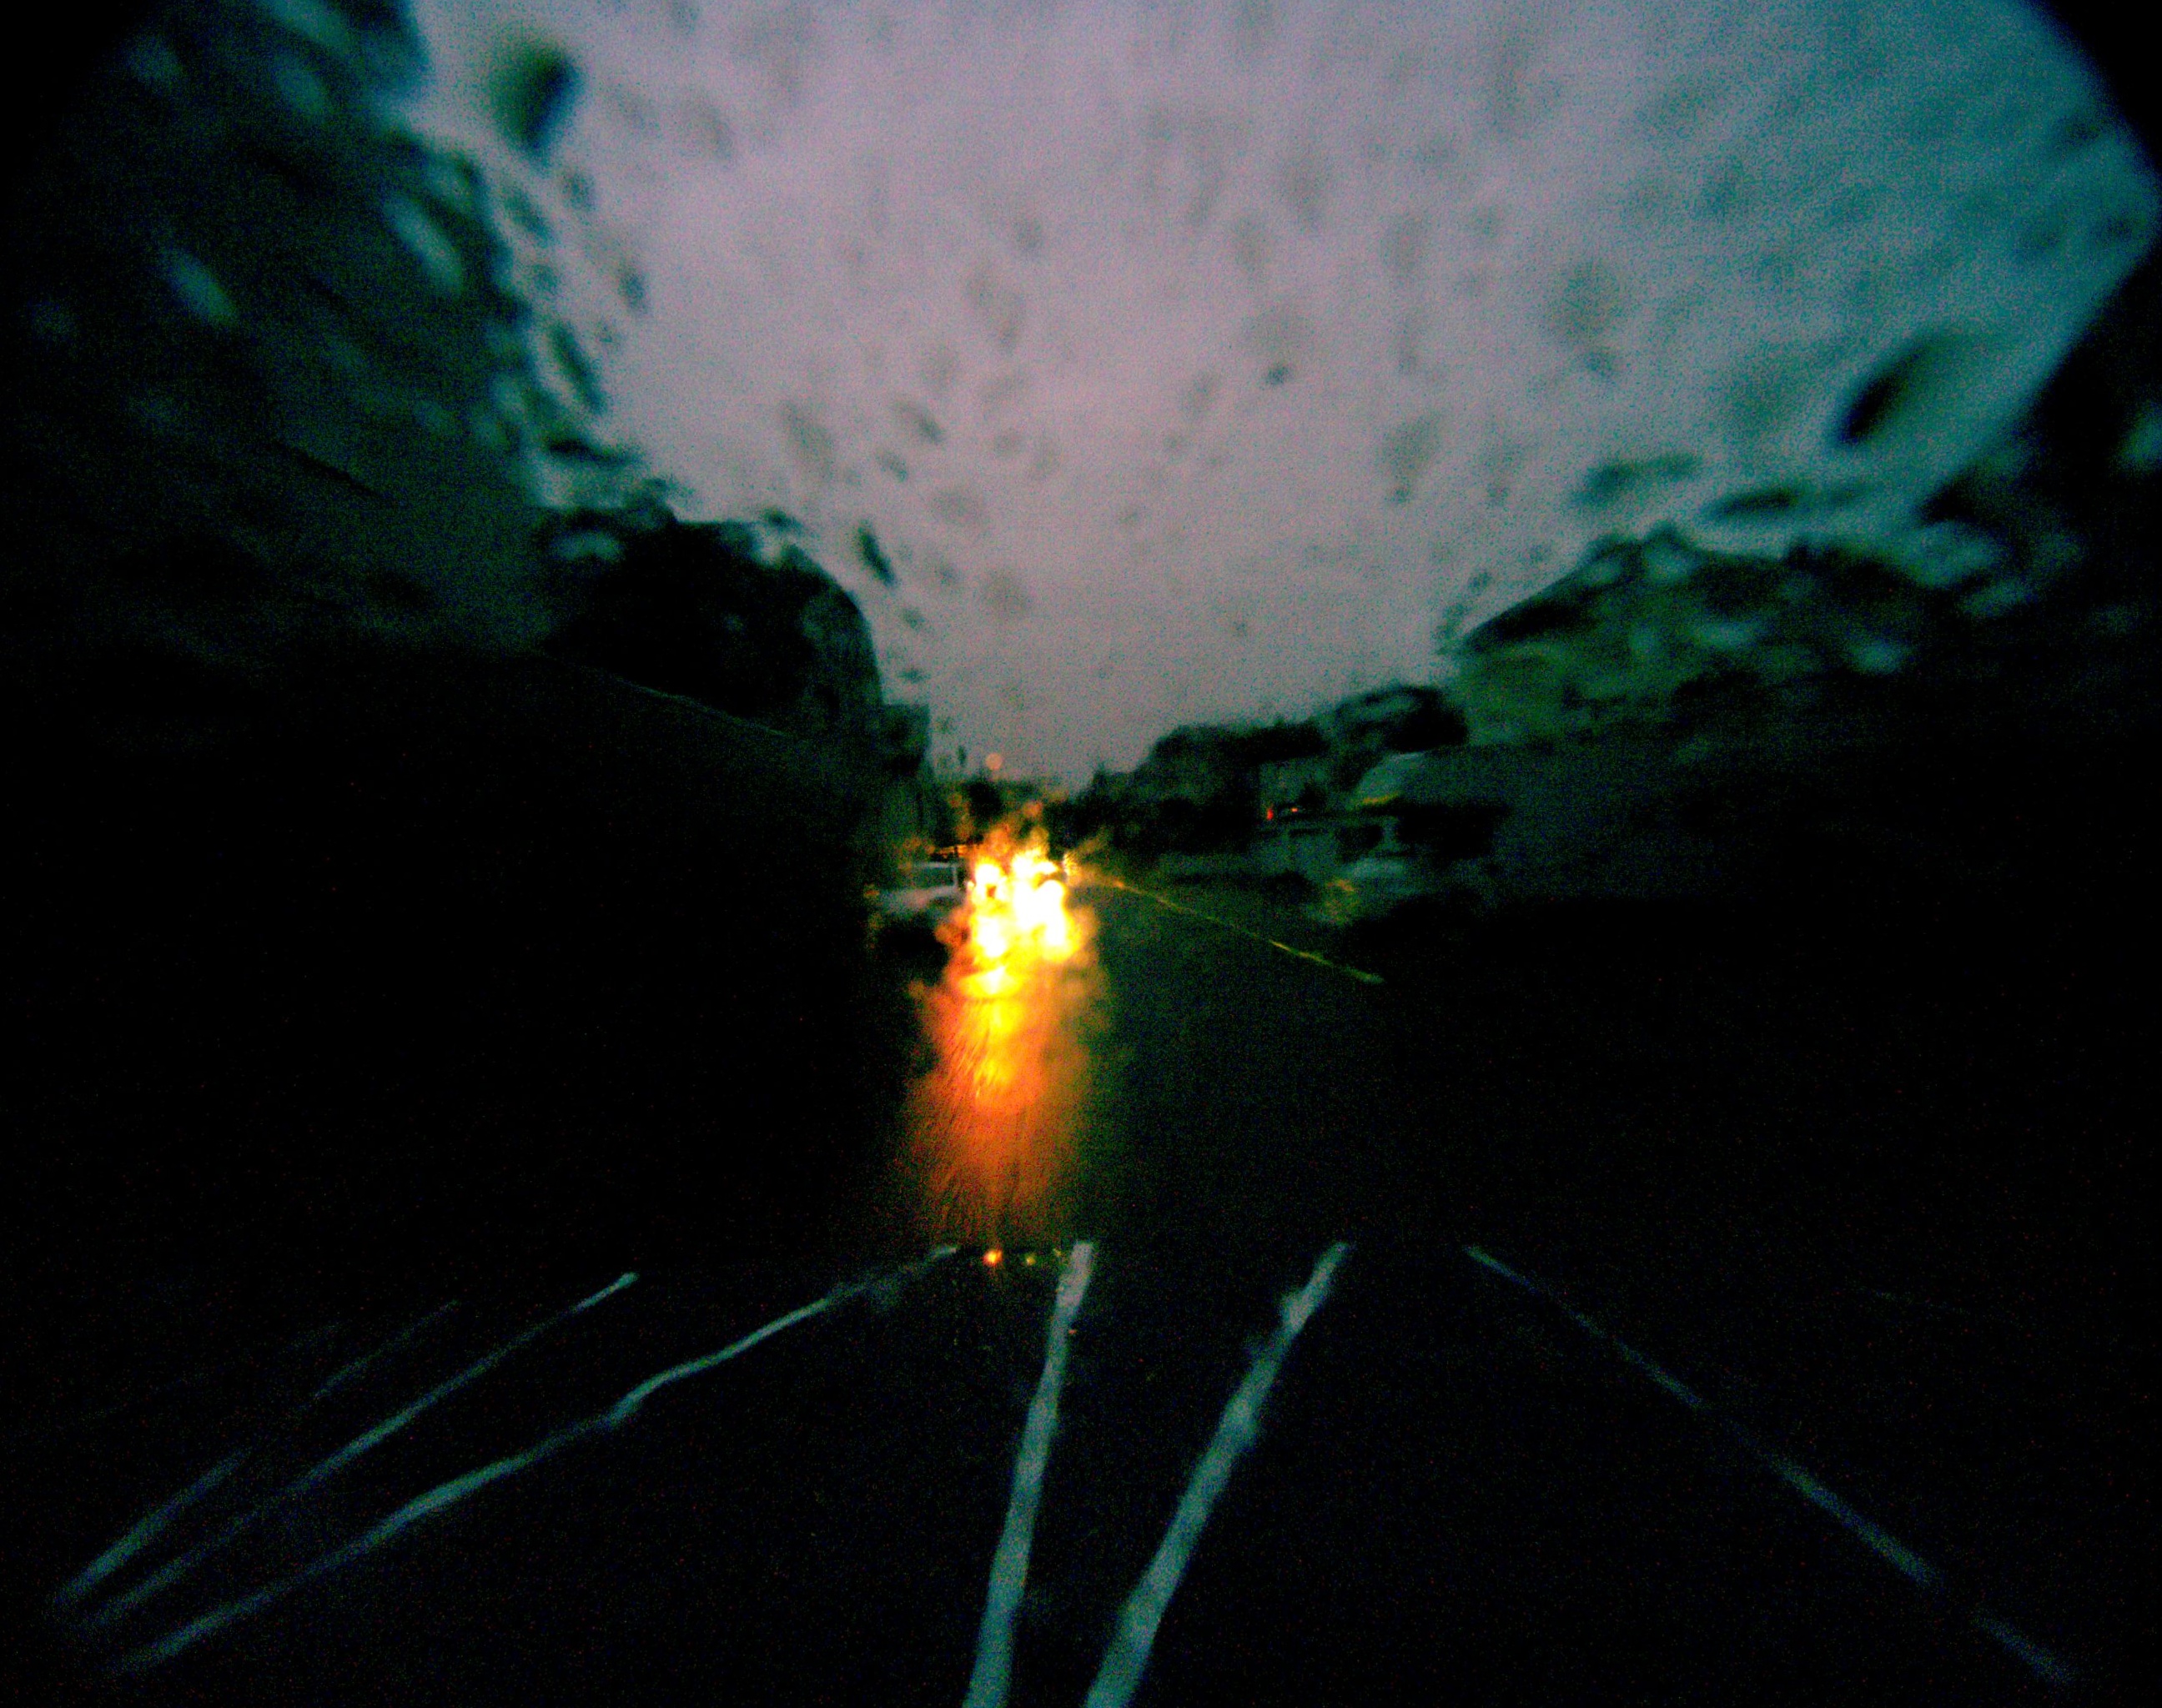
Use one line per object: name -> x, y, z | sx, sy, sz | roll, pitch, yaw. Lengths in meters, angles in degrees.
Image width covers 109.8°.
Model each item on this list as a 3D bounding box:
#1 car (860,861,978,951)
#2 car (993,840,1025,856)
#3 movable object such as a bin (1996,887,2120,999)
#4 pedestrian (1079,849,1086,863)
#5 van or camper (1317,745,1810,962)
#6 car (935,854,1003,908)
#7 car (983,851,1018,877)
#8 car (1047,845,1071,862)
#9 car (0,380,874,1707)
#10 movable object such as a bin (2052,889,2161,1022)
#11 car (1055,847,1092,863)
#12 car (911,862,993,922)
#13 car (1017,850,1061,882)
car -> -3.121, 0.928, 15.466 | 1.648, 1.469, 4.370 | -2, 0, -3
car -> -8.524, -0.686, 89.207 | 1.855, 1.873, 4.874 | -2, 1, -29
movable object such as a bin -> 8.772, 0.782, 6.837 | 0.457, 0.942, 0.502 | -2, 1, 7
pedestrian -> 0.126, 0.174, 79.753 | 0.591, 1.463, 0.581 | -3, 2, -4
van or camper -> 7.071, -0.018, 11.770 | 6.073, 2.925, 2.323 | 1, 1, 1
car -> -3.666, 0.827, 25.547 | 1.815, 1.530, 4.302 | -2, 1, -3
car -> -5.266, 0.612, 49.472 | 1.992, 1.549, 4.232 | -2, 1, -9
car -> -2.357, -0.048, 80.391 | 1.756, 1.652, 3.995 | -2, 1, -12
car -> -2.747, 0.453, 3.314 | 2.014, 2.440, 5.614 | -2, 0, 0
movable object such as a bin -> 8.688, 0.816, 6.259 | 0.617, 1.015, 0.581 | -2, 1, 7
car -> -0.820, 0.108, 87.099 | 3.994, 1.652, 1.756 | -2, 1, 8
car -> -3.475, 0.963, 21.205 | 1.740, 1.398, 4.302 | -2, 0, -3
car -> -2.270, 0.579, 39.631 | 1.992, 1.549, 4.233 | -2, 1, -7
